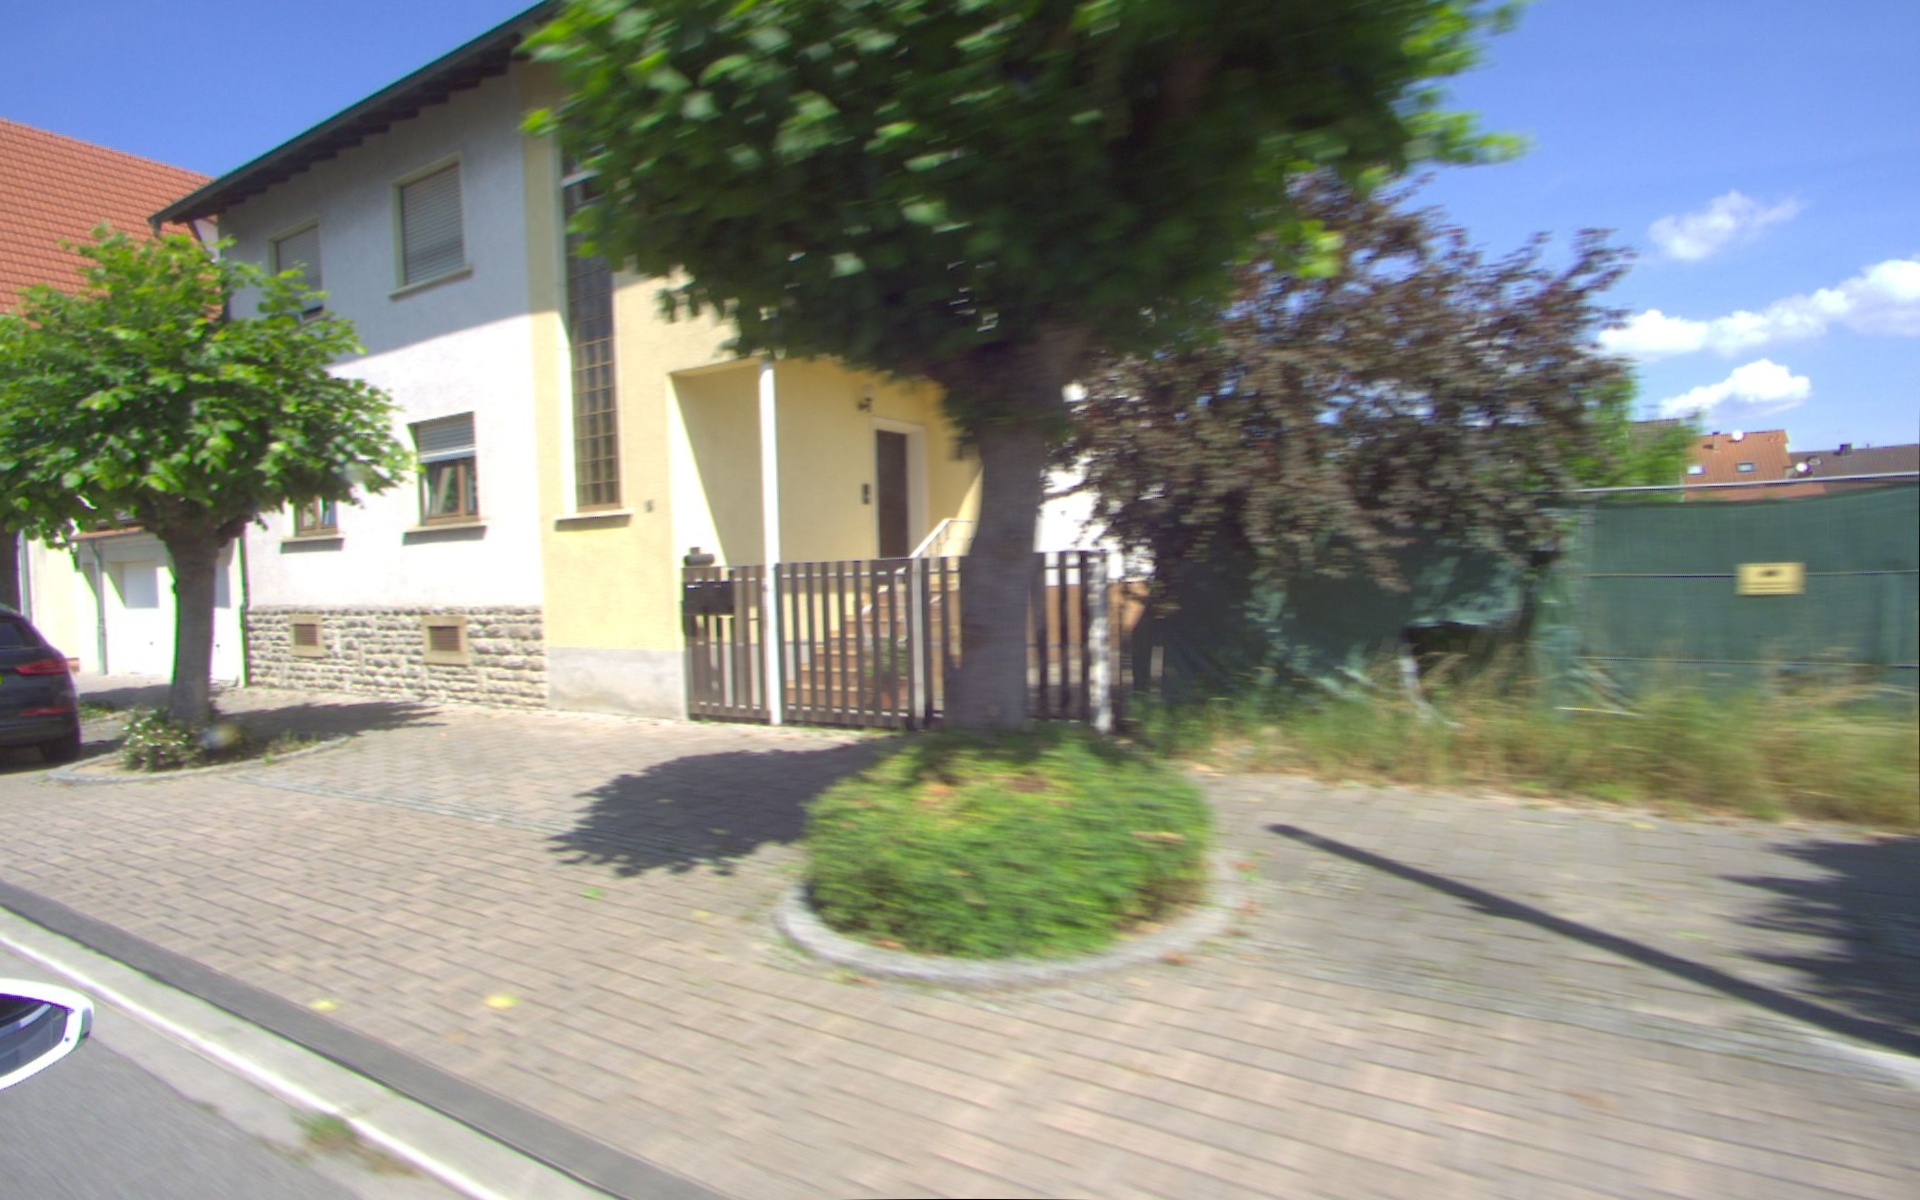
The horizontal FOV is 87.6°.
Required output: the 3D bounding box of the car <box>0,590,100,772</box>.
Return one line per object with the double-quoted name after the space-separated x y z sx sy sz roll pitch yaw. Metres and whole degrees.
-10.366 0.757 9.992 4.004 1.608 1.817 0 3 37 "car"
